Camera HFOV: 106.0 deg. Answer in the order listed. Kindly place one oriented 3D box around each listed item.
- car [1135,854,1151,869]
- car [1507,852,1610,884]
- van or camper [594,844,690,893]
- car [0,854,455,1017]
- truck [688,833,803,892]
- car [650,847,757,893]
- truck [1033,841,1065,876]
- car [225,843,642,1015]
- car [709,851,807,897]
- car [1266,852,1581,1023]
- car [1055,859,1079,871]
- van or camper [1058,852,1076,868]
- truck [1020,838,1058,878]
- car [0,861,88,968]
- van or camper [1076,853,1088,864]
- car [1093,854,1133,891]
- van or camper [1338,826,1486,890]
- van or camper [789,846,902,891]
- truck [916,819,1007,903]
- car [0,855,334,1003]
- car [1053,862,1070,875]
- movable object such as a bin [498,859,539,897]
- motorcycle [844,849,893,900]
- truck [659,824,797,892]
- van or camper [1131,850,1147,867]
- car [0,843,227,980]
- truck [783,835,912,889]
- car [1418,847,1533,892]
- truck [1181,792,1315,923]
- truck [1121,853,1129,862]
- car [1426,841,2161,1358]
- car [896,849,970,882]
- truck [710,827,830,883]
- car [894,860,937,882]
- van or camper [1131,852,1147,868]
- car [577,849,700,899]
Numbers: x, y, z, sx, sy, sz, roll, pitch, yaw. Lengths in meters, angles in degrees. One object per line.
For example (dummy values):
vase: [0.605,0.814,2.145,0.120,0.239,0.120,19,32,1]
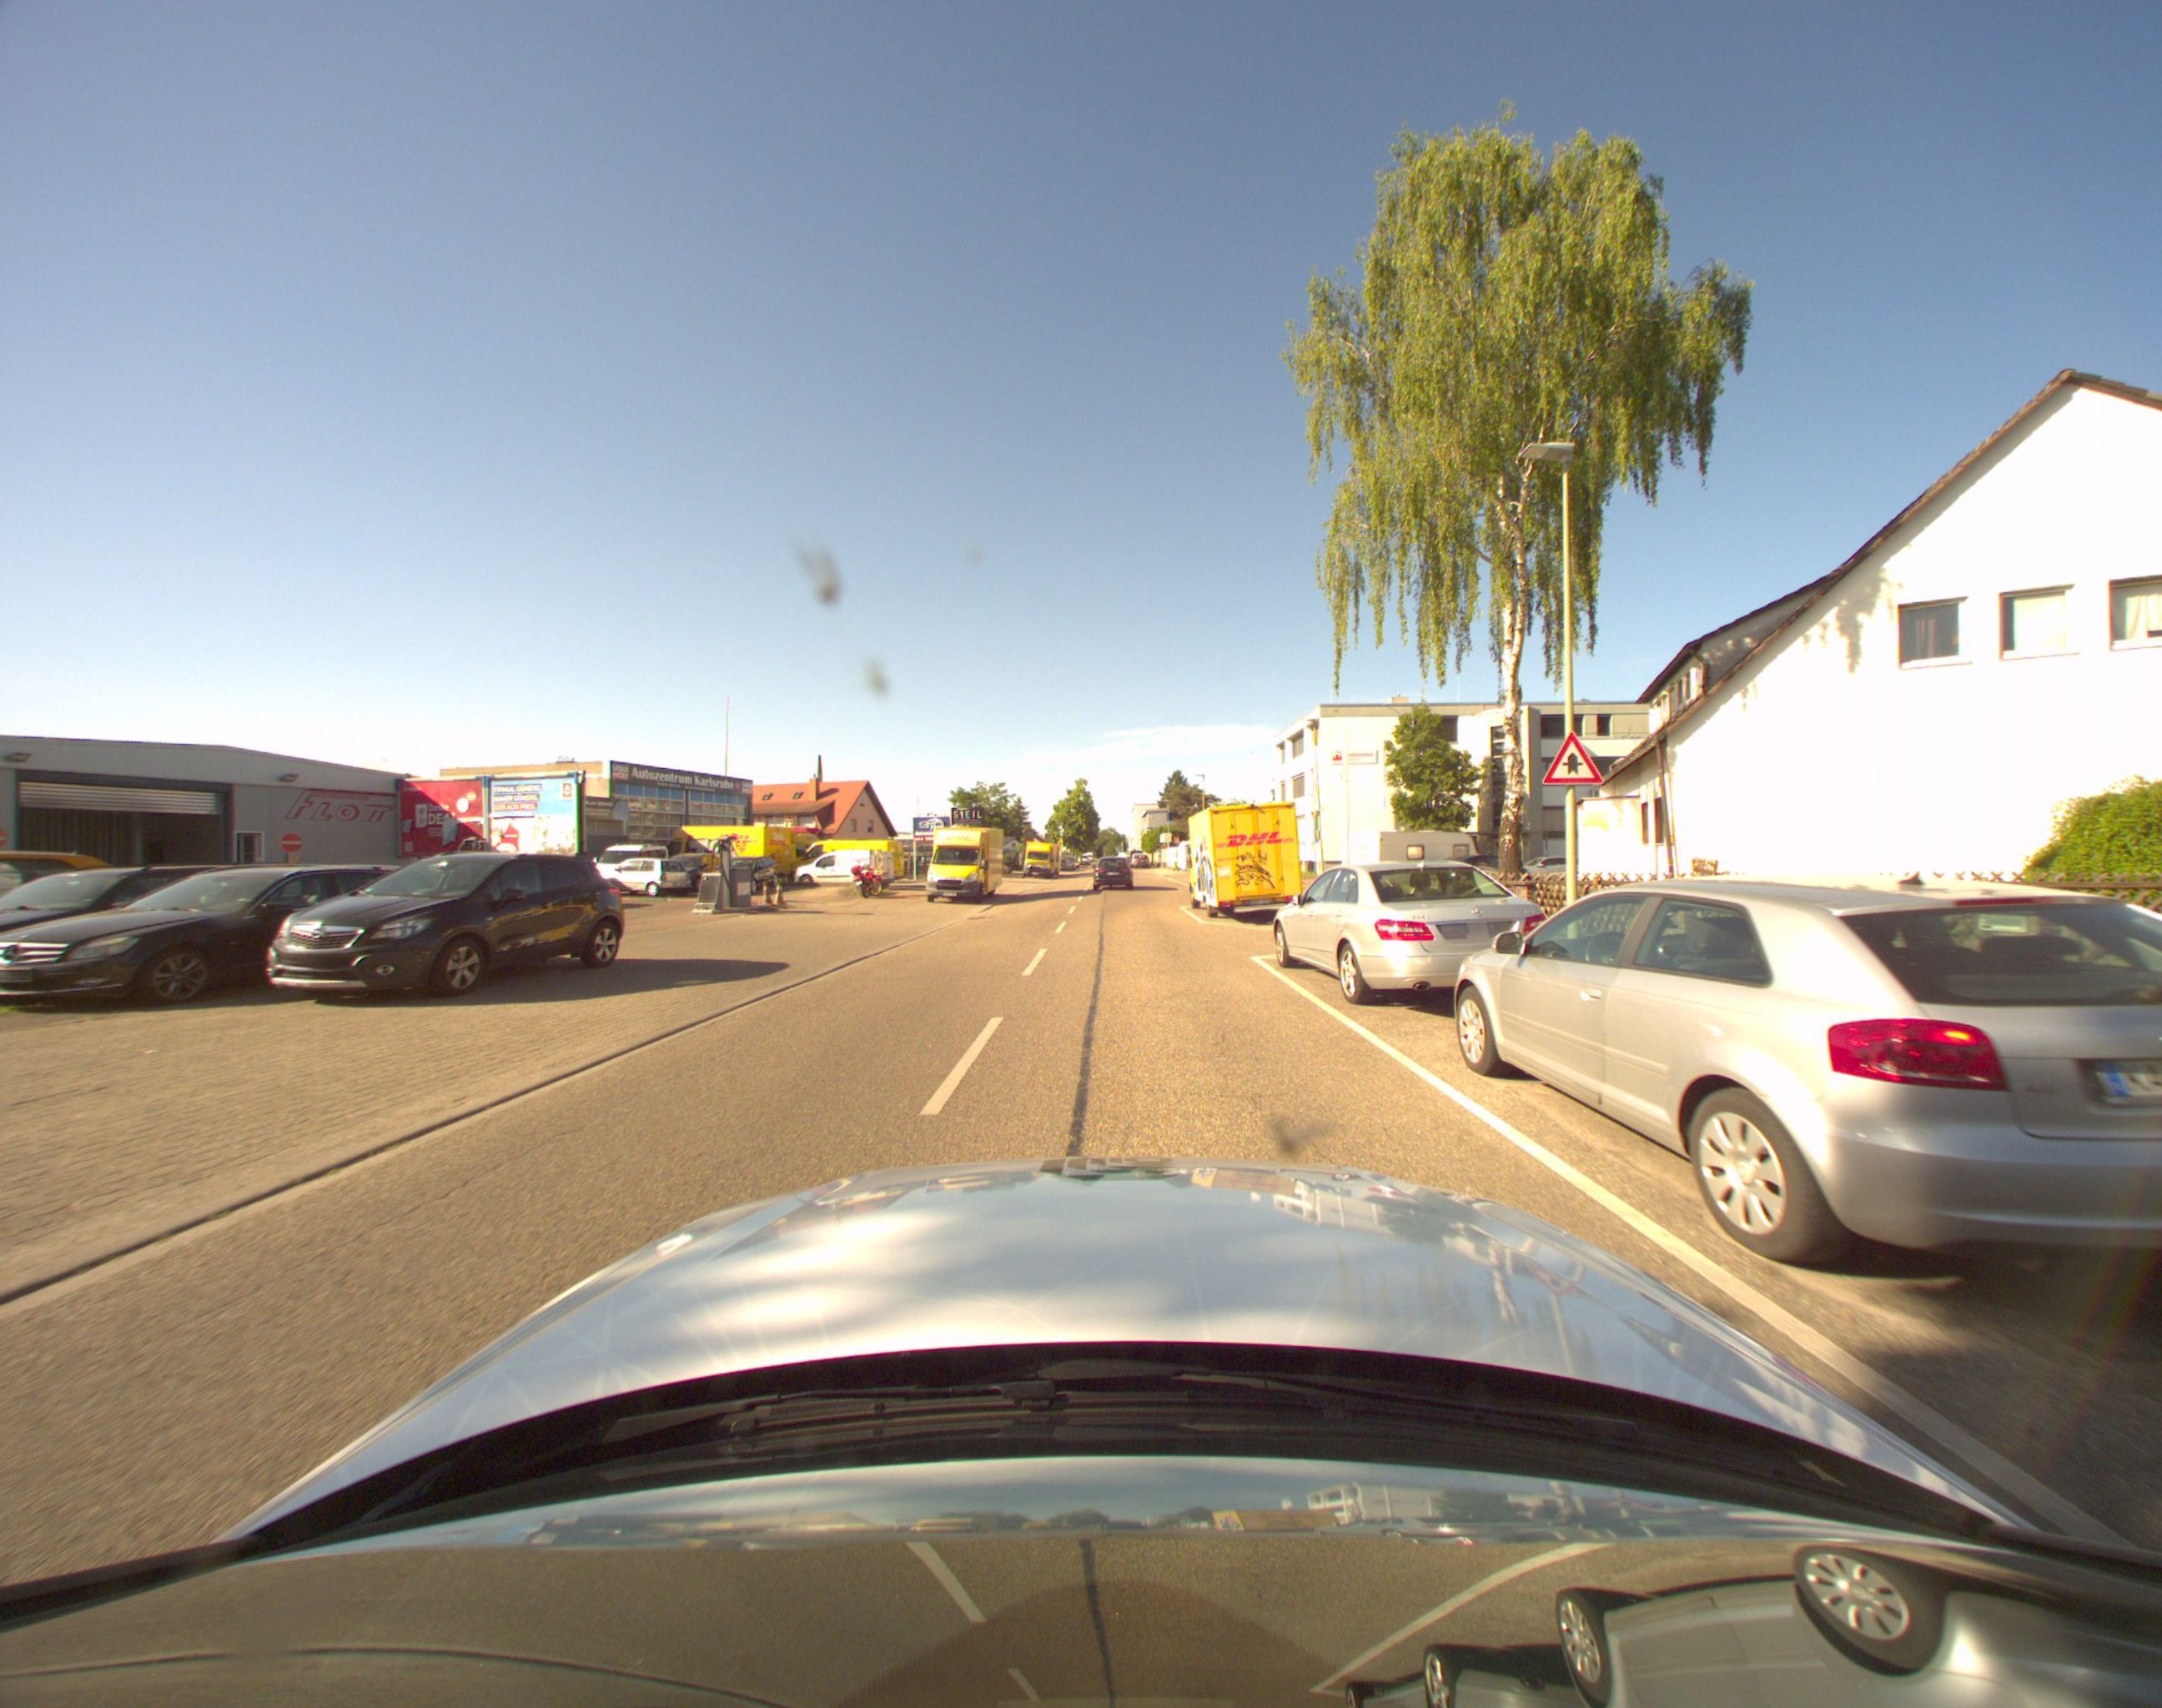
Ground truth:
car: [7.796,0.879,102.648,1.911,1.825,4.082,-1,0,2]
car: [25.809,0.745,44.151,4.493,1.618,1.801,-1,0,2]
van or camper: [-19.379,0.613,36.160,1.852,2.013,4.004,-1,0,4]
car: [-10.445,0.815,10.171,1.854,1.590,4.278,-1,0,1]
truck: [-17.565,0.454,42.712,5.295,2.972,2.181,-1,0,15]
car: [-15.840,0.647,34.410,1.979,1.816,4.015,1,0,14]
truck: [-2.758,0.344,71.879,2.183,2.902,6.444,1,0,3]
car: [-7.896,0.786,10.611,1.854,1.714,4.278,2,0,1]
car: [-13.430,0.761,34.164,1.854,1.562,4.225,0,4,10]
car: [3.662,0.760,9.741,1.778,1.542,4.535,-1,0,-1]
car: [-1.891,1.458,109.924,1.883,1.485,4.014,-2,0,-22]
van or camper: [-1.750,0.826,102.709,1.883,1.926,4.269,-2,-1,3]
truck: [-3.236,0.313,64.347,2.393,2.983,6.377,1,0,2]
car: [-17.060,0.945,11.026,1.764,1.545,4.179,-1,1,13]
van or camper: [0.184,0.974,173.692,2.317,2.362,6.523,-1,0,-2]
car: [1.469,0.814,36.750,1.704,1.532,3.690,-1,0,3]
van or camper: [13.870,0.133,34.145,5.838,2.541,2.273,-1,0,-23]
van or camper: [-11.003,0.663,38.223,4.517,2.014,2.256,-1,0,8]
truck: [-4.607,0.266,32.726,2.394,2.983,7.246,1,0,1]
car: [-12.494,0.874,10.401,1.854,1.590,4.277,-1,-2,1]
car: [-2.156,1.610,92.954,1.751,1.403,4.557,-1,0,0]
movable object such as a bin: [-22.200,0.936,32.169,0.533,1.452,1.305,-1,0,13]
motorcycle: [-8.457,0.779,32.511,0.777,1.873,3.046,2,1,6]
truck: [-17.037,0.167,39.413,5.629,3.119,2.532,1,0,13]
van or camper: [8.060,0.673,113.461,1.986,2.310,4.002,-1,0,2]
car: [-14.802,0.768,10.972,1.764,1.748,4.179,-1,1,13]
truck: [-11.781,0.379,41.194,5.880,2.567,2.232,1,0,13]
car: [15.282,0.570,31.590,4.002,1.618,1.798,-1,0,-22]
truck: [4.326,0.109,22.523,2.393,2.936,7.019,-3,-1,2]
truck: [11.243,0.931,207.582,1.986,2.287,6.959,-1,0,2]
car: [3.398,0.729,4.446,1.666,1.542,4.049,0,0,6]
car: [-9.507,0.730,52.424,4.222,2.014,1.874,-1,0,10]
truck: [-17.454,0.092,45.759,6.047,2.972,2.181,-1,0,14]
car: [-13.012,1.334,64.274,1.681,1.578,4.061,-1,0,16]
van or camper: [7.681,0.752,107.957,1.911,2.019,4.082,-1,0,2]
car: [-16.997,0.769,31.318,3.954,1.816,2.010,-1,0,20]
